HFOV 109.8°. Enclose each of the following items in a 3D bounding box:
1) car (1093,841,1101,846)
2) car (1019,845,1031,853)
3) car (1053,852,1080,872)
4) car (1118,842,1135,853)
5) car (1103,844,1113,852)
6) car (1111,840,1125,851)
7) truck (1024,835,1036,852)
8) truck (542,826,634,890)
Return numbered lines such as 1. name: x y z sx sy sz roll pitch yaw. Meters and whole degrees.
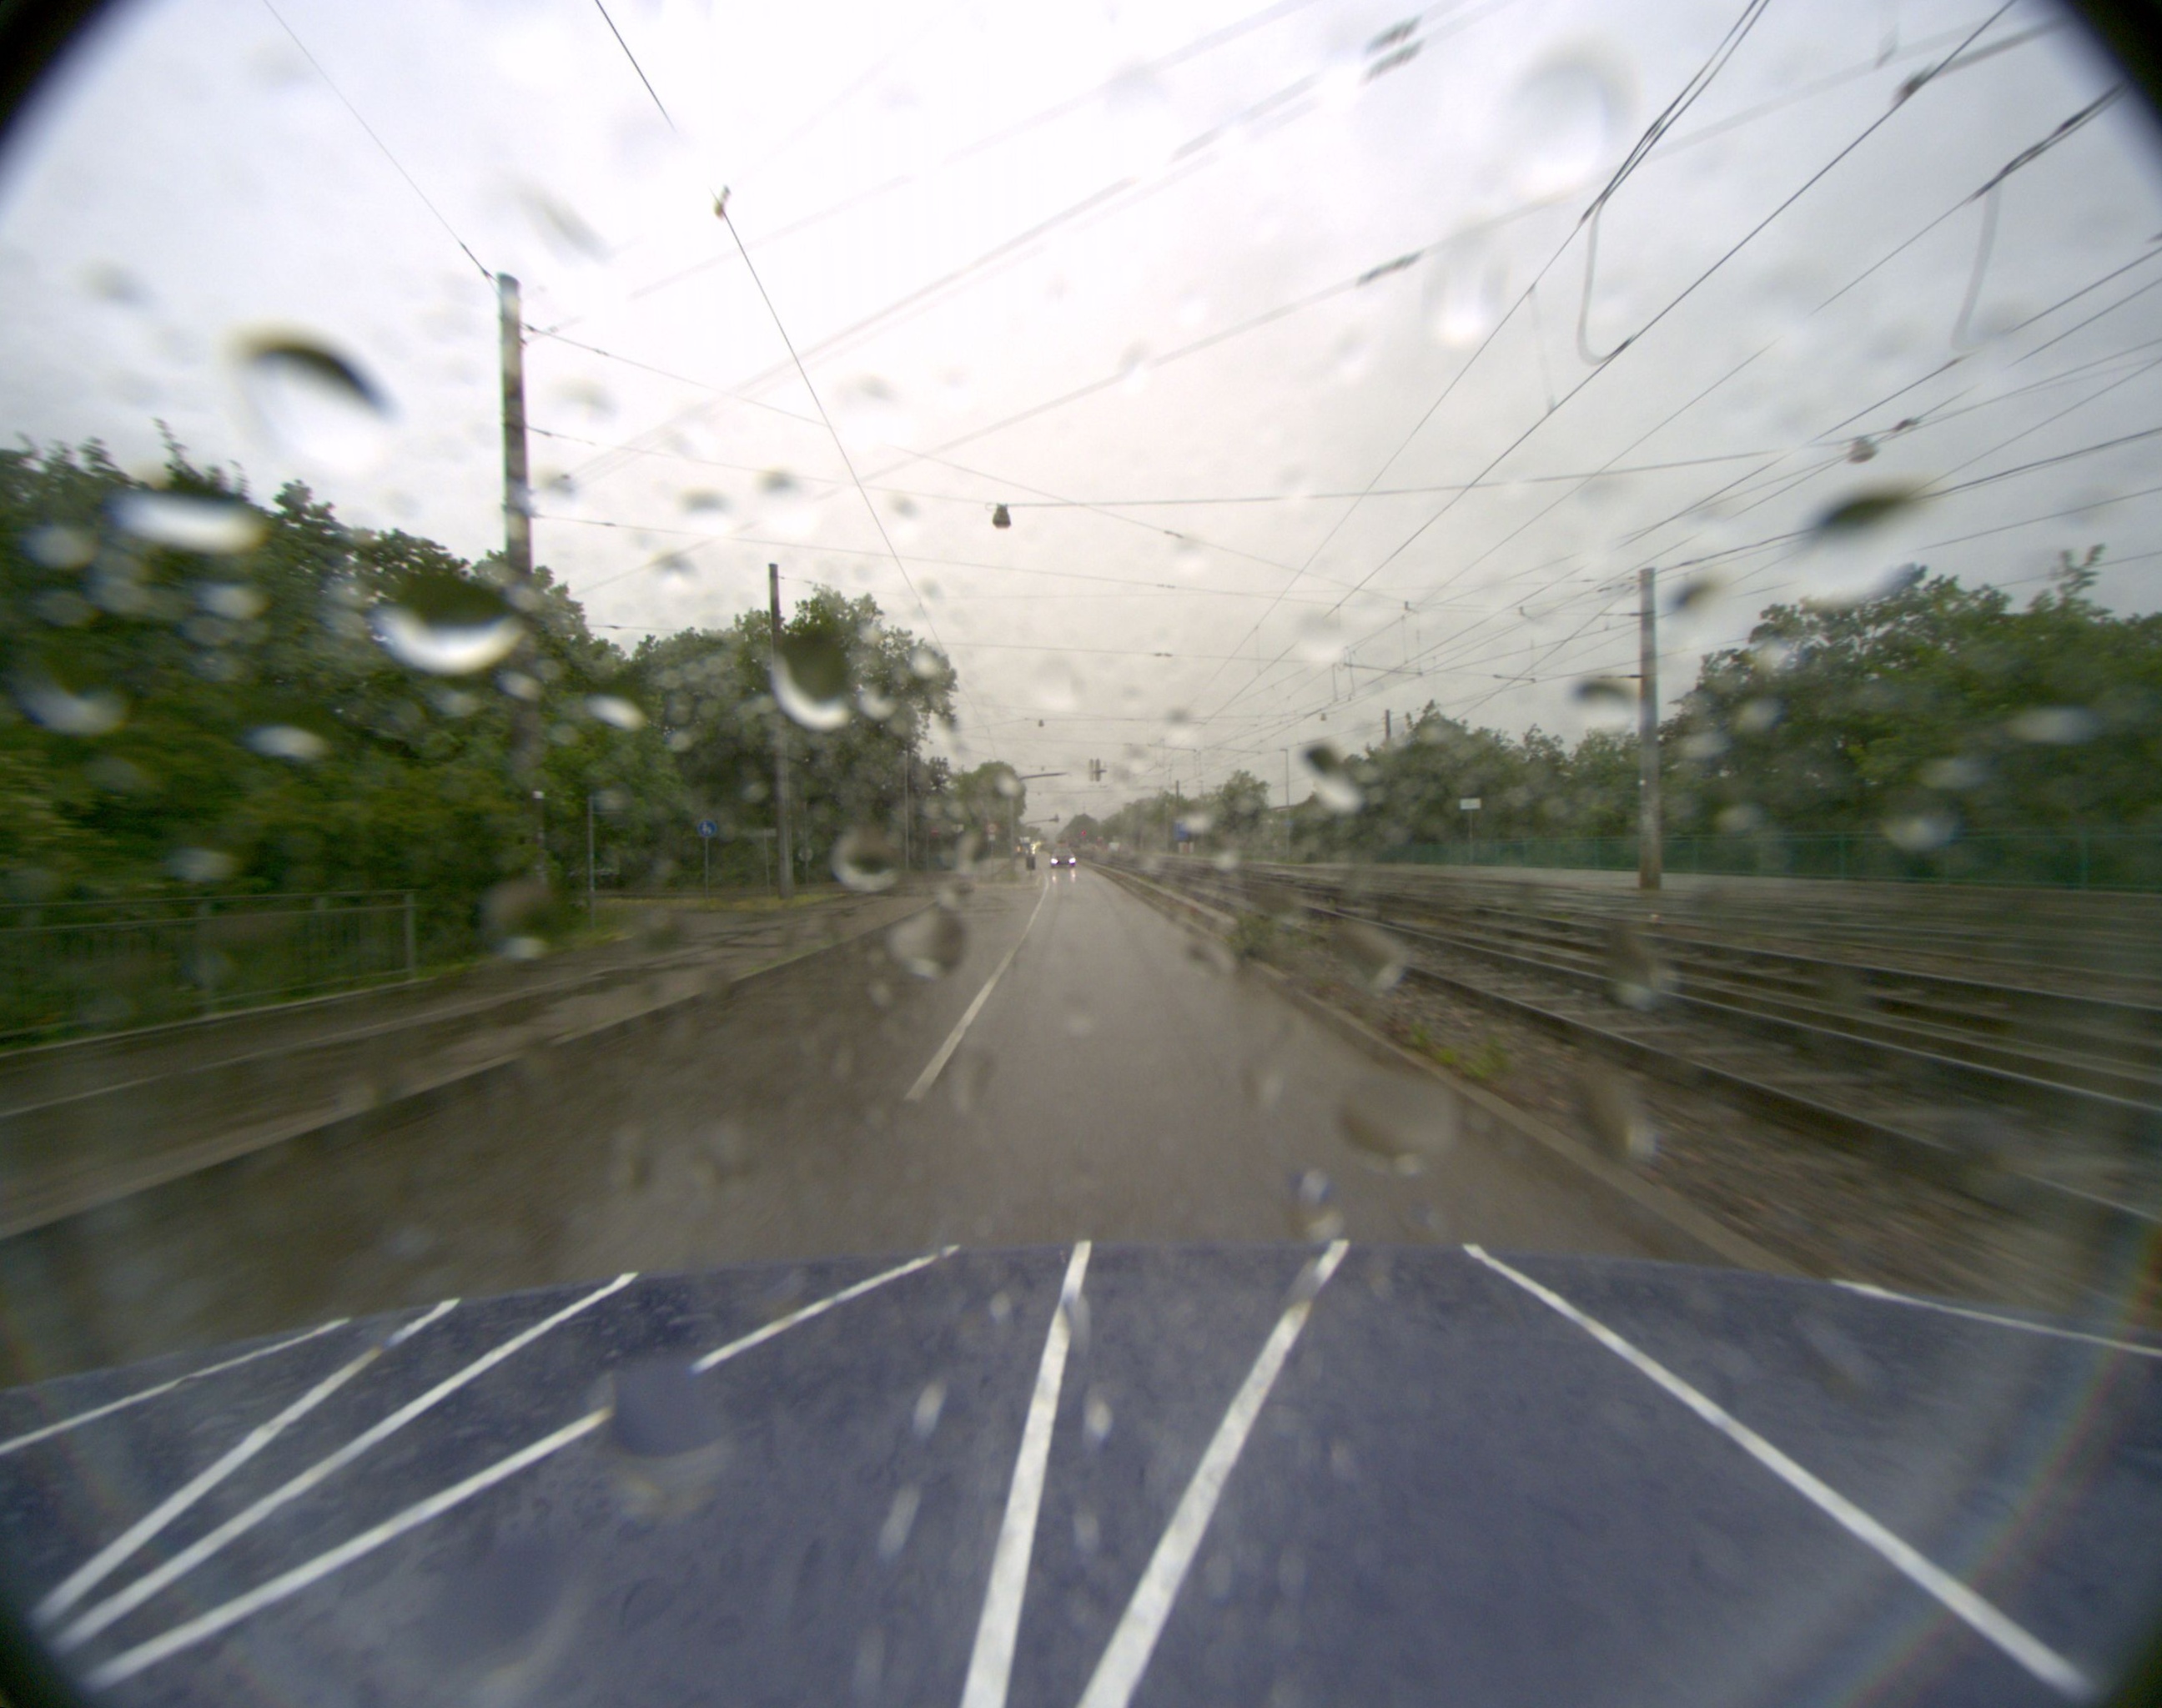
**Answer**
1. car: 5.204 -3.331 244.886 1.999 1.639 5.368 -3 1 -4
2. car: -10.094 -0.956 137.694 1.999 1.395 4.194 -3 0 -4
3. car: -1.205 0.625 61.795 1.999 1.497 4.194 -3 0 -4
4. car: 7.371 -1.149 124.343 1.999 1.639 5.368 -3 1 -4
5. car: 5.751 -1.218 164.772 1.729 1.592 3.648 -3 2 -4
6. car: 6.959 -1.602 142.465 1.999 2.032 5.025 -3 1 -4
7. truck: -11.717 -2.411 175.338 2.568 3.848 7.842 -3 0 -4
8. truck: -35.522 0.275 54.597 8.349 4.209 3.022 -1 3 40
